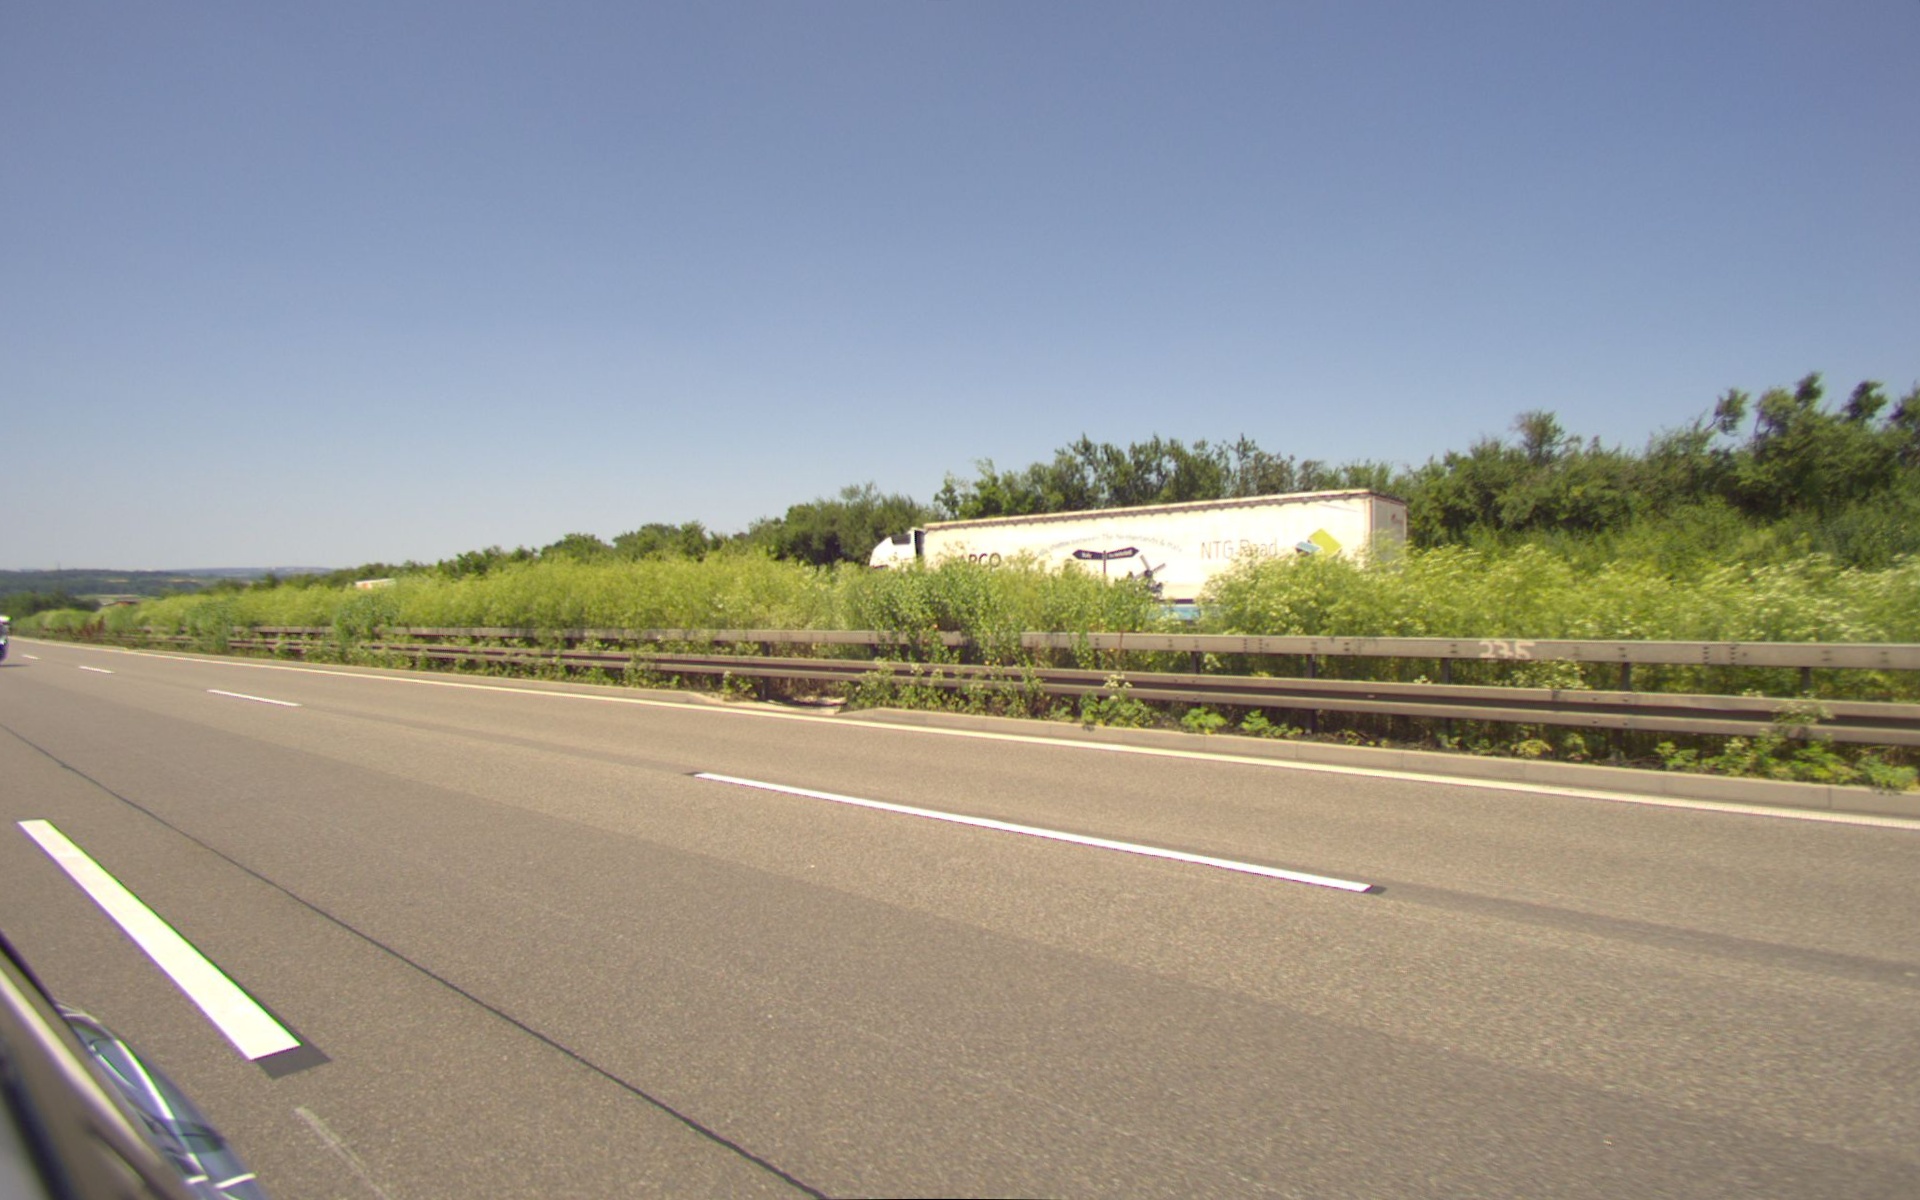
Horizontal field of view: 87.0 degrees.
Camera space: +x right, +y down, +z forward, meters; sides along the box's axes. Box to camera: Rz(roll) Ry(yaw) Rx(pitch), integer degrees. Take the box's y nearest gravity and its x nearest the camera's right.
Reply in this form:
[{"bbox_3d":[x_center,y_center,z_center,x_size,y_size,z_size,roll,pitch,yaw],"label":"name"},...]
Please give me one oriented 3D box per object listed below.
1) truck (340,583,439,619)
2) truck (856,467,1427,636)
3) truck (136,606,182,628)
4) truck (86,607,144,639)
[{"bbox_3d":[-37.319,0.141,65.964,9.854,2.029,2.625,-2,-2,42],"label":"truck"},{"bbox_3d":[3.831,-0.824,28.506,16.827,3.576,2.776,-2,-3,41],"label":"truck"},{"bbox_3d":[-79.479,1.744,100.355,6.794,2.029,2.466,-2,-2,41],"label":"truck"},{"bbox_3d":[-108.550,3.021,129.896,18.528,3.638,3.195,-2,1,43],"label":"truck"}]
